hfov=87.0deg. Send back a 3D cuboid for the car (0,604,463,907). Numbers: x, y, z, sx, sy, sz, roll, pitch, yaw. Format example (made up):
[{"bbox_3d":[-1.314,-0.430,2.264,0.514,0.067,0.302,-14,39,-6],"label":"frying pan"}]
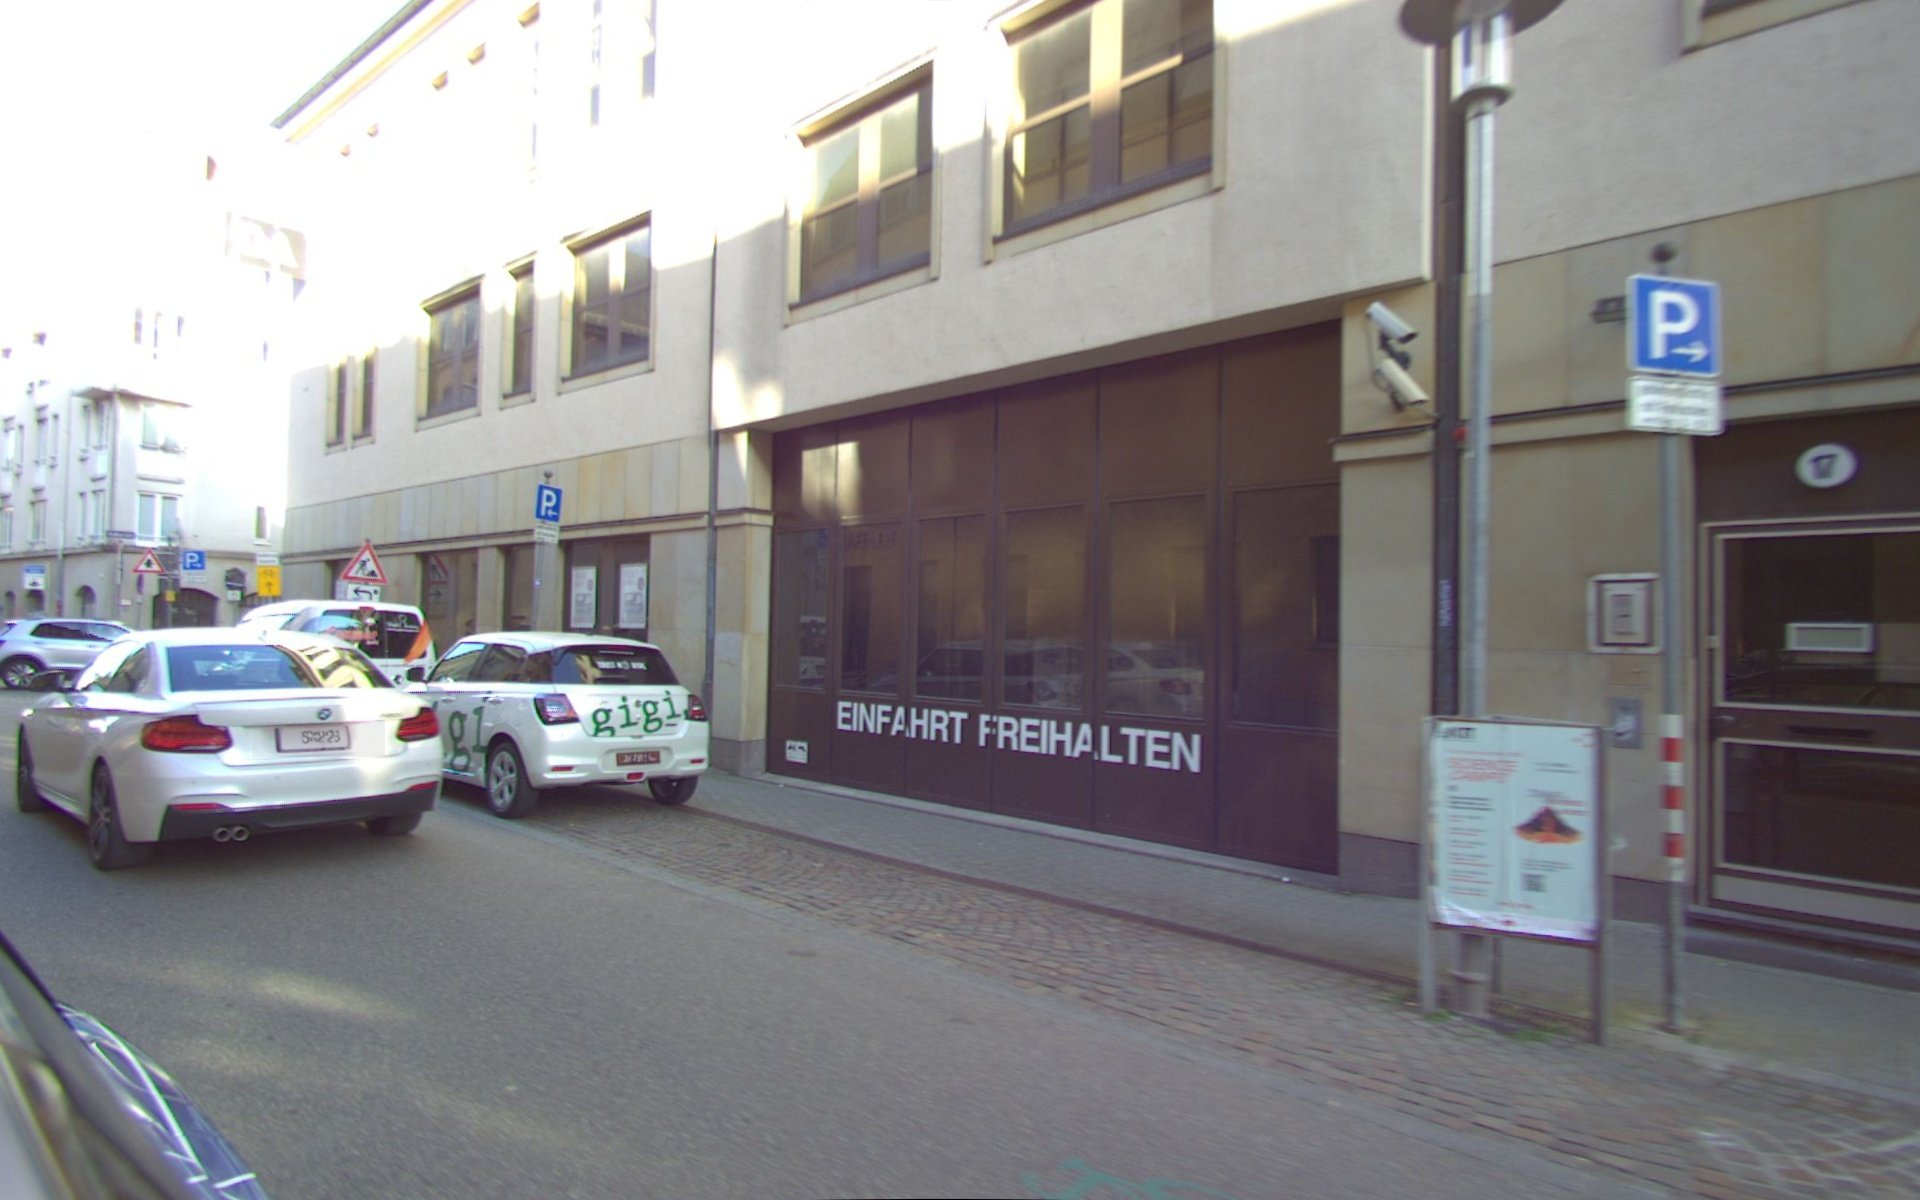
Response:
[{"bbox_3d":[-5.333,0.852,7.123,4.156,1.529,1.697,-1,-3,39],"label":"car"}]

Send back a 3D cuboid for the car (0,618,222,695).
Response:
[{"bbox_3d":[-19.168,1.284,22.766,3.932,1.558,1.769,4,-3,-32],"label":"car"}]

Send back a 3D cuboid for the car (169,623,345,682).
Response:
[{"bbox_3d":[-20.735,1.560,29.982,1.741,1.605,3.917,0,-3,39],"label":"car"}]

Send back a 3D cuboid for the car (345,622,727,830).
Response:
[{"bbox_3d":[-4.024,1.019,9.357,3.773,1.534,1.652,-1,-5,40],"label":"car"}]

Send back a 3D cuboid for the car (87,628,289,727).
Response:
[{"bbox_3d":[-13.329,1.276,17.424,3.793,1.504,1.721,-1,-4,37],"label":"car"}]

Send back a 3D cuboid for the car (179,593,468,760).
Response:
[{"bbox_3d":[-8.670,0.947,13.604,4.730,1.872,1.880,-1,-5,41],"label":"car"}]

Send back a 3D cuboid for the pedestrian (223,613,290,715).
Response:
[{"bbox_3d":[-13.348,1.211,19.202,0.861,1.868,0.707,0,-4,38],"label":"pedestrian"}]
